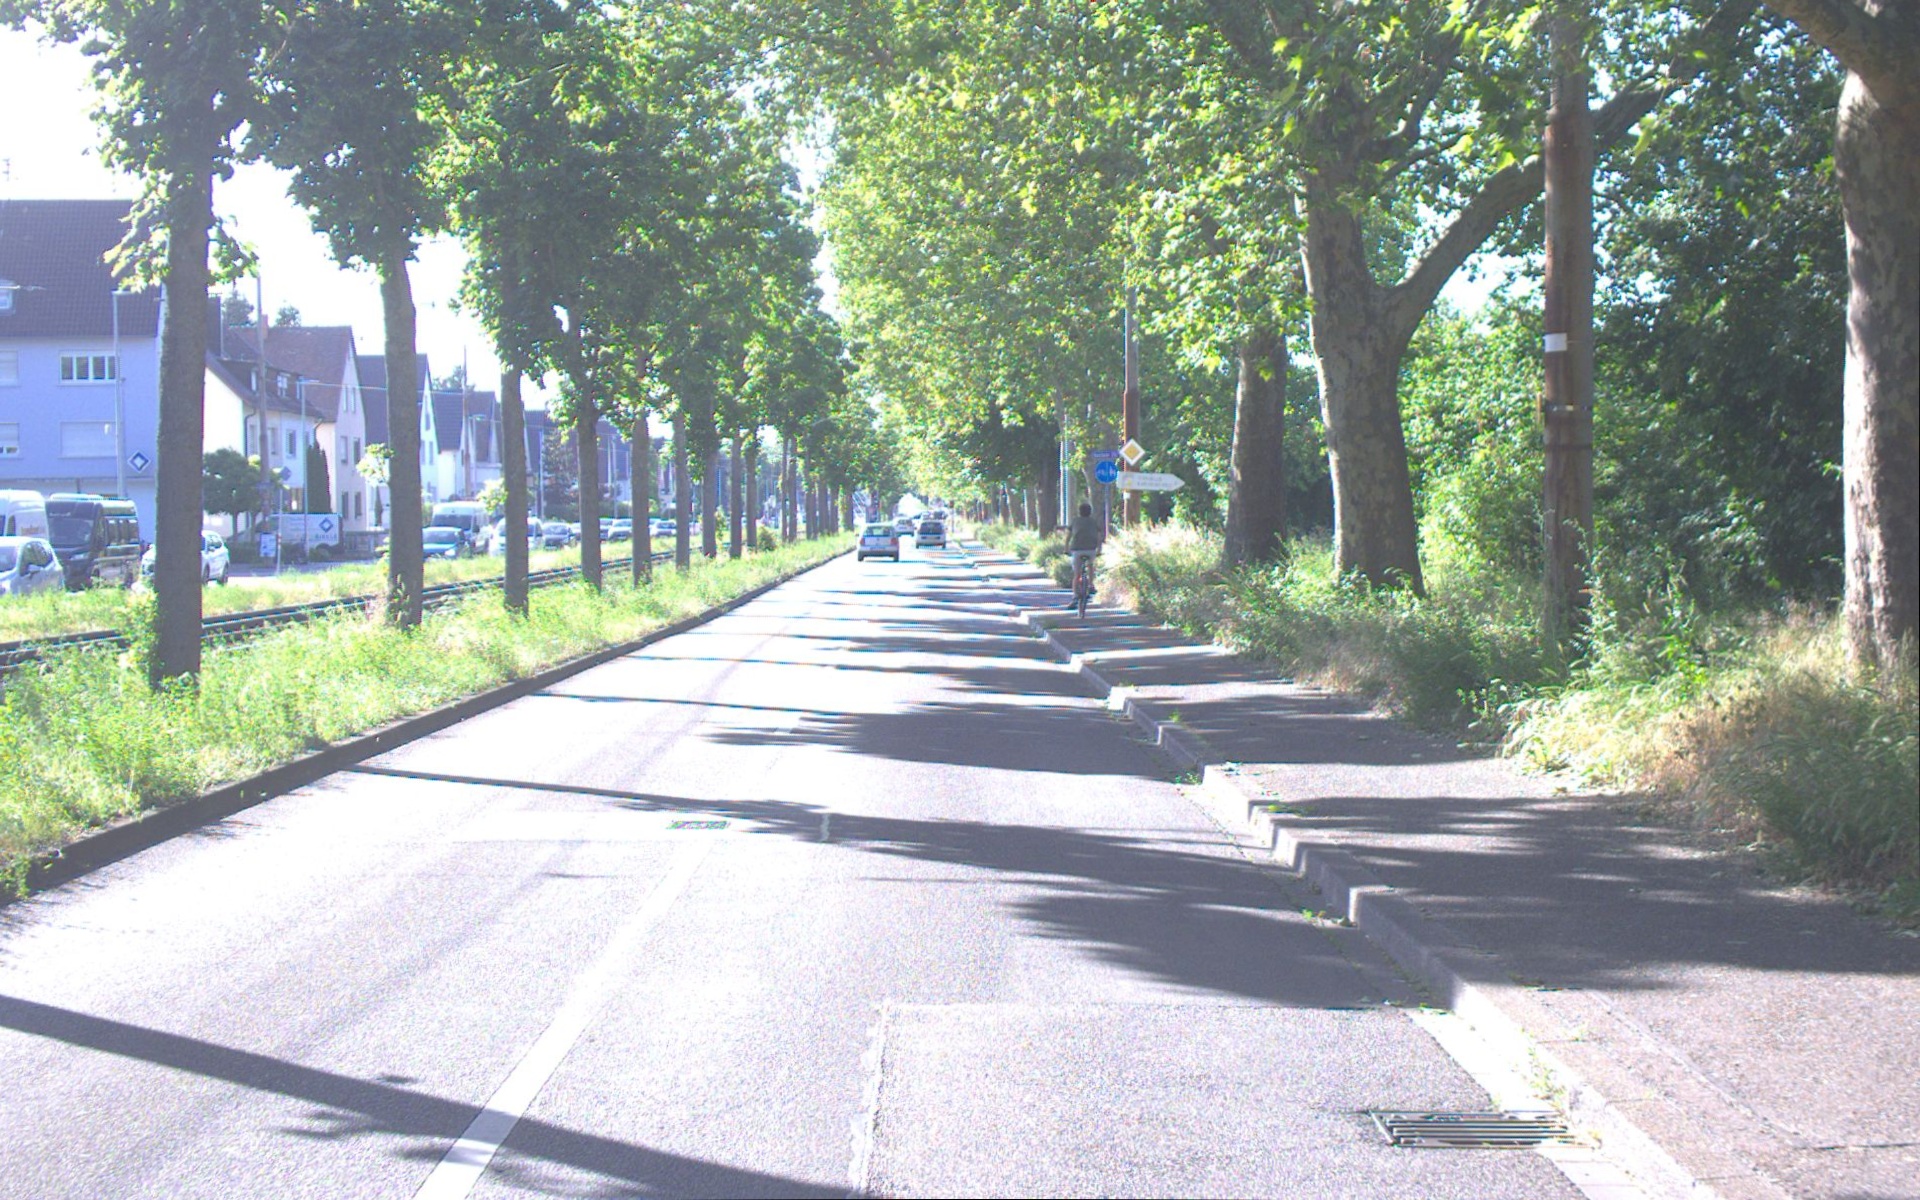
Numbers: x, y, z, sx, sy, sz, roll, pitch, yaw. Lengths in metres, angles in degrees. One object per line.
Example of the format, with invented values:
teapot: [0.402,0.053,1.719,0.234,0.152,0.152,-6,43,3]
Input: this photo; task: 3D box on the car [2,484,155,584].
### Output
car: [-22.000,-1.646,86.053,2.182,2.368,6.465,1,1,0]

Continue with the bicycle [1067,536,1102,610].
bicycle: [1.990,-0.441,55.024,0.440,1.149,1.823,-1,1,-1]

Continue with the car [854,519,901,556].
car: [-3.171,-2.420,132.836,1.738,1.396,3.277,1,1,-1]

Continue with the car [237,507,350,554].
car: [-27.830,-2.917,143.619,4.616,1.939,2.001,0,1,-11]

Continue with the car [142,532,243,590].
car: [-22.056,-1.144,98.944,1.823,1.601,4.774,1,1,0]

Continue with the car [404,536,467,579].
car: [-17.541,-1.417,115.110,1.557,1.390,3.821,1,1,-1]

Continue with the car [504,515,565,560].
car: [-17.051,-2.504,137.946,1.810,1.738,4.982,1,1,0]

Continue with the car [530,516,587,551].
car: [-17.836,-2.966,152.884,1.993,1.526,3.751,-1,1,1]

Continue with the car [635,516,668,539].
car: [-19.251,-4.520,214.791,1.676,1.405,4.000,-1,1,0]

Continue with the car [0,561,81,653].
car: [-16.945,0.085,60.584,1.727,1.523,4.442,1,1,0]

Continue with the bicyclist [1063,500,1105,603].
bicyclist: [1.981,-0.789,55.058,0.613,1.623,0.909,-1,1,-1]

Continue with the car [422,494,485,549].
car: [-23.201,-3.580,157.661,1.993,2.451,6.675,1,1,-1]

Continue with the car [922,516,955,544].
car: [-1.177,-3.835,187.929,1.761,1.508,3.277,1,1,0]

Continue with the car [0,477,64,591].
car: [-22.004,-1.507,77.666,2.001,2.488,6.138,1,1,-1]
